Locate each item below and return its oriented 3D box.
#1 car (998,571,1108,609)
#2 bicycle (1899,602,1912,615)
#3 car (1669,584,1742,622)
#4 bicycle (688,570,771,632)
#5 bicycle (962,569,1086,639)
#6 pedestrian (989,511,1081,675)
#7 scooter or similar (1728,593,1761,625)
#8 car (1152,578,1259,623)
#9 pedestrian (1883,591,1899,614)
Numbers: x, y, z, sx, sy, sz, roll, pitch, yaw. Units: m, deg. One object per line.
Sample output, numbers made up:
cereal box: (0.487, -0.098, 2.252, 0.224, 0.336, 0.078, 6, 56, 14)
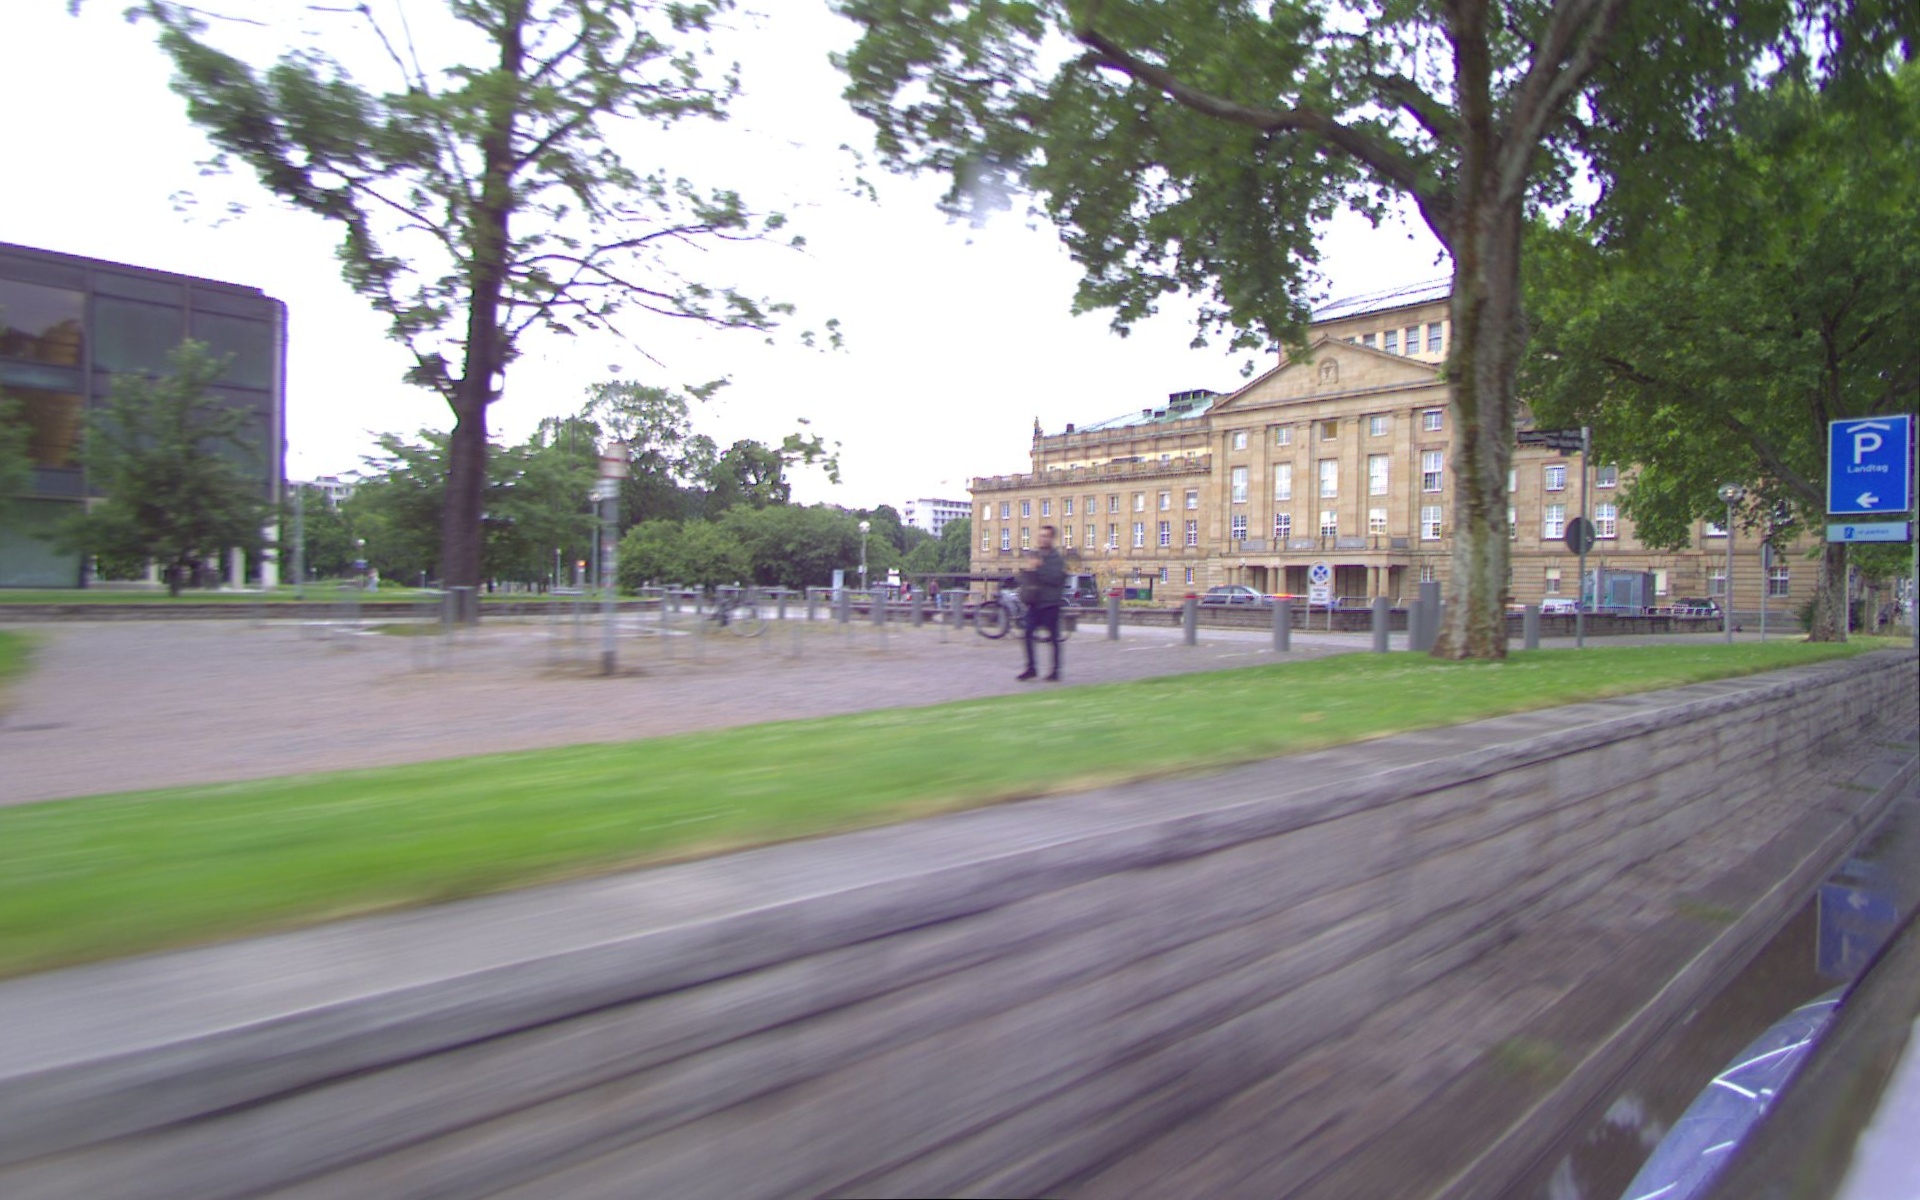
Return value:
car: (4.492, -0.501, 49.485, 5.007, 1.786, 2.421, 1, 1, 44)
bicycle: (80.568, 0.710, 86.213, 0.711, 1.064, 1.715, 0, 1, 40)
car: (34.216, 0.175, 46.385, 1.994, 1.630, 5.151, 0, -1, 45)
bicycle: (-4.327, 0.010, 18.977, 1.641, 1.099, 0.698, 2, 0, 43)
bicycle: (1.138, 0.052, 18.243, 2.030, 1.188, 0.947, 1, 0, 38)
pedestrian: (0.829, -0.082, 11.208, 0.680, 1.740, 0.706, 1, 1, -42)
scooter or similar: (32.679, 0.369, 42.157, 0.535, 1.271, 1.431, 1, 1, 14)
car: (9.907, -0.022, 41.060, 1.627, 1.619, 3.995, 0, 2, -40)
pedestrian: (73.628, 0.188, 80.020, 0.631, 1.799, 0.796, 0, 3, -44)
